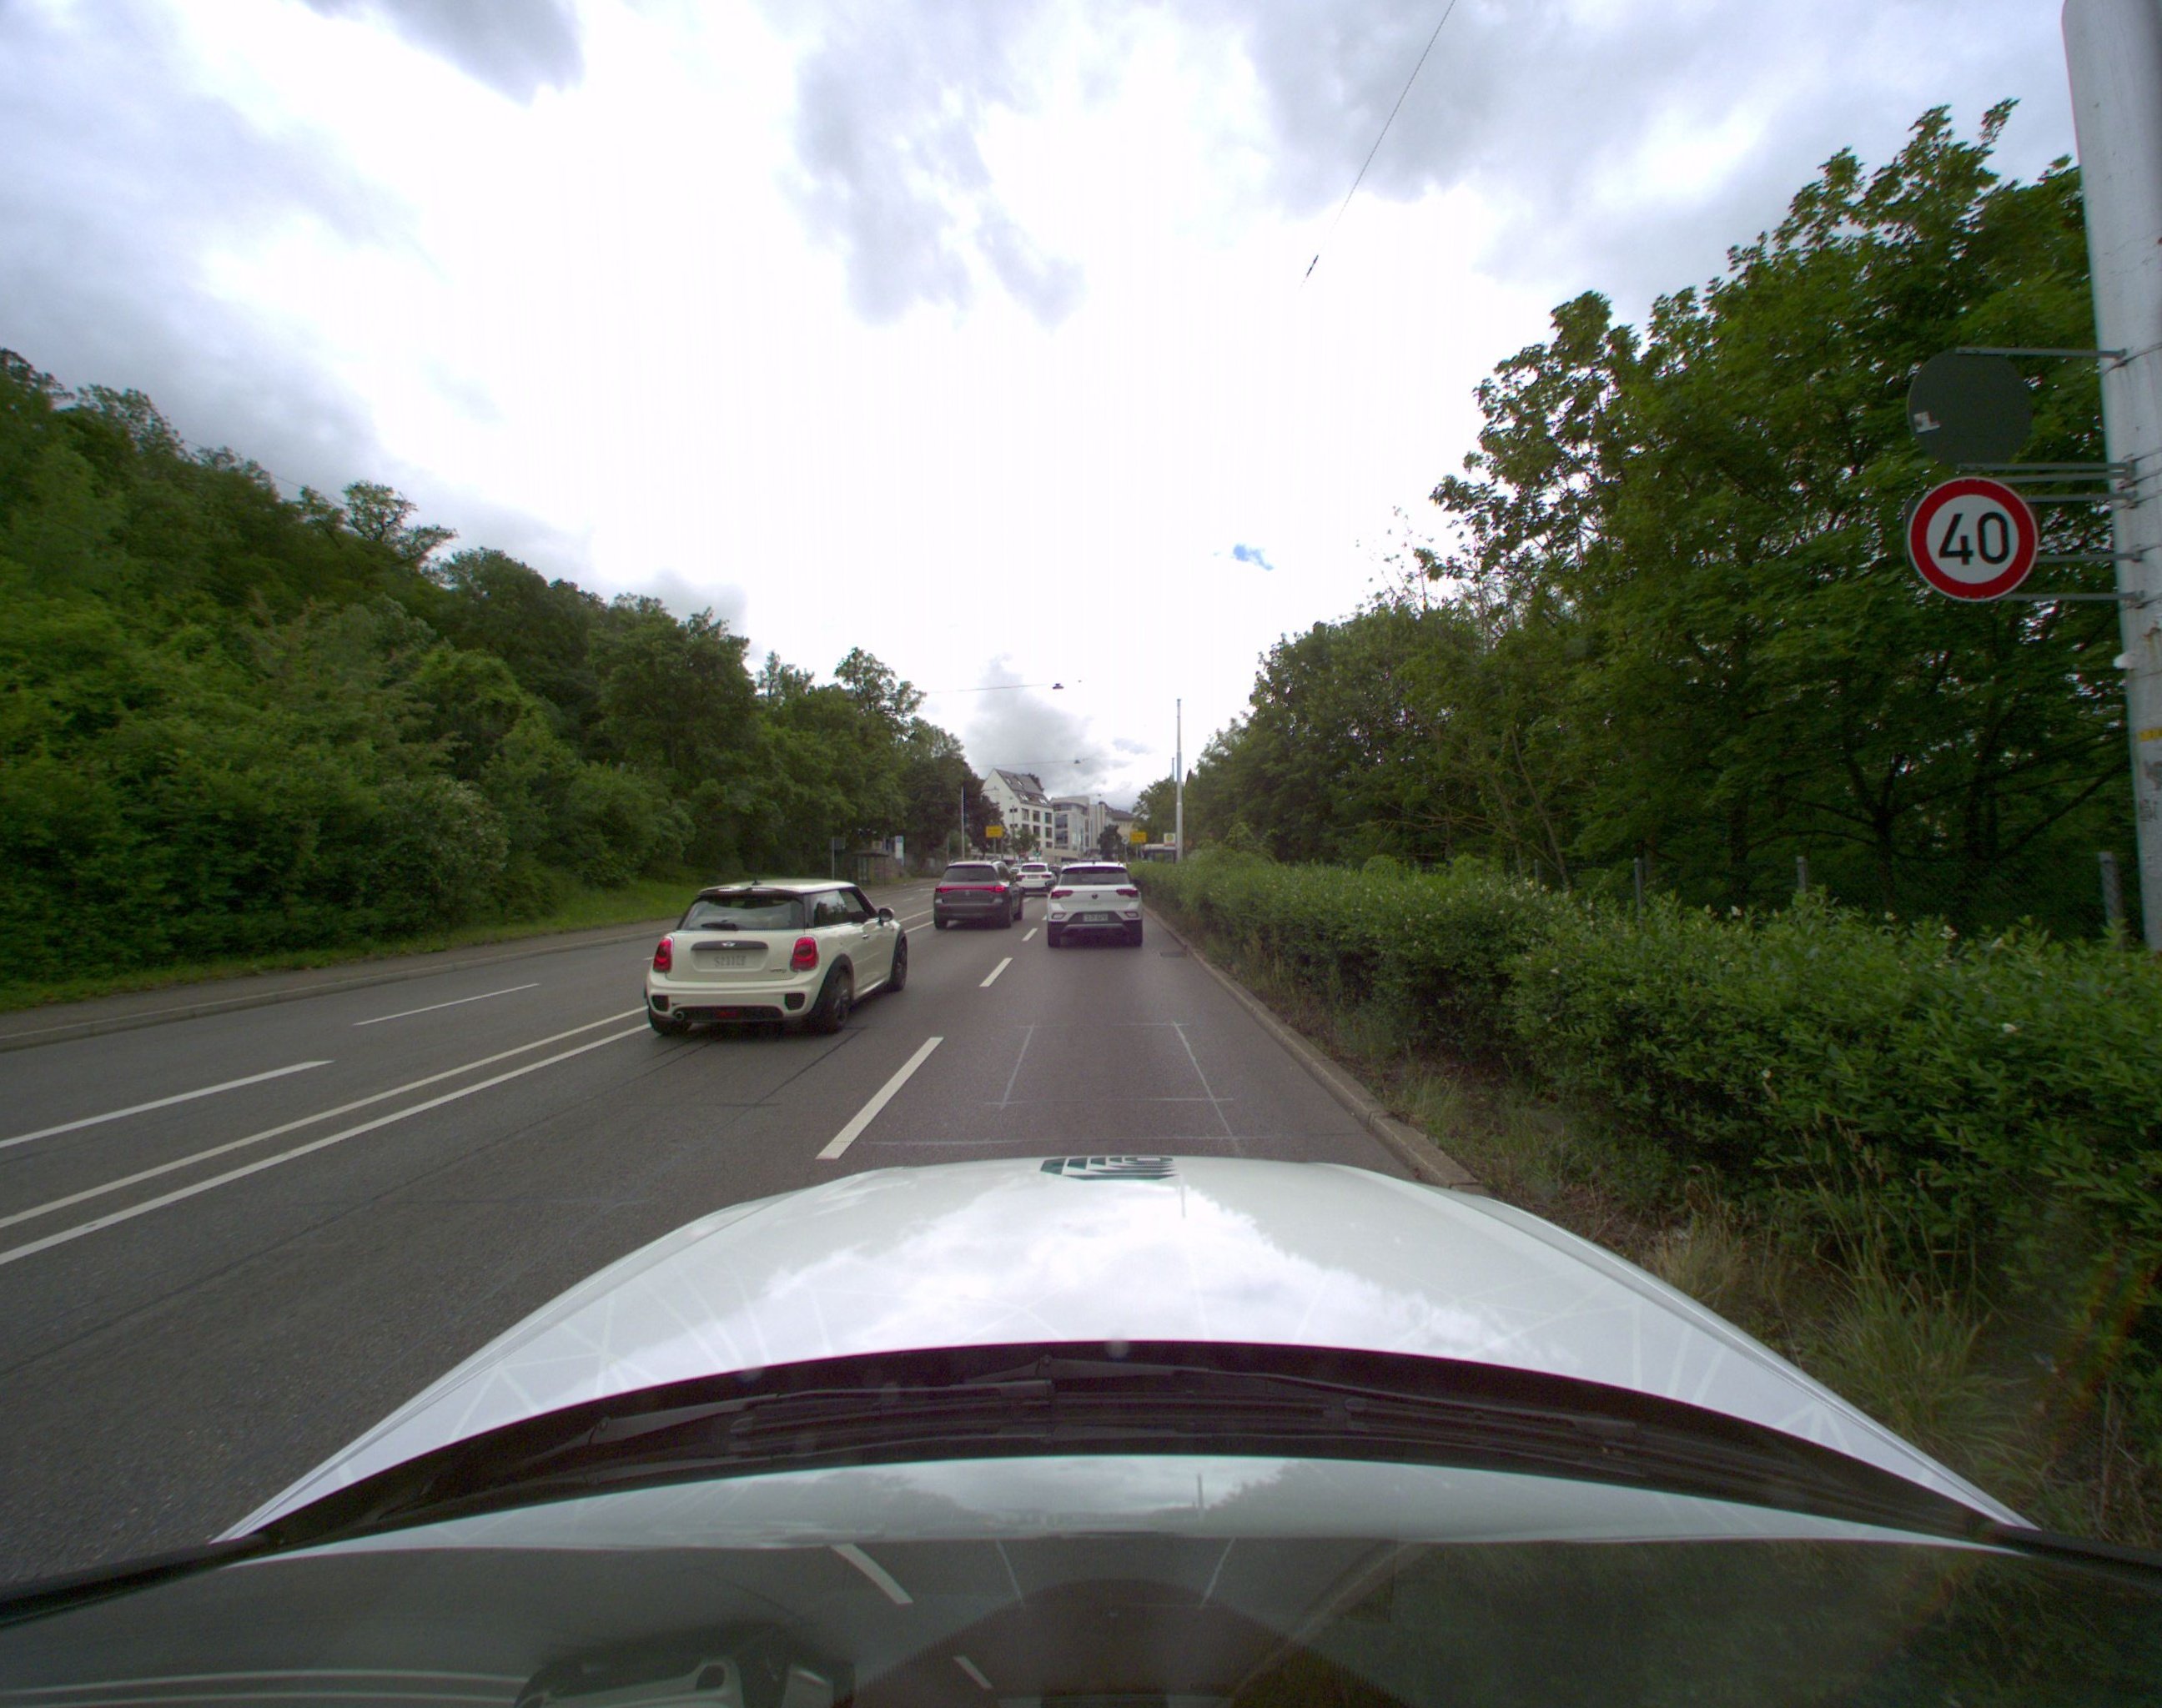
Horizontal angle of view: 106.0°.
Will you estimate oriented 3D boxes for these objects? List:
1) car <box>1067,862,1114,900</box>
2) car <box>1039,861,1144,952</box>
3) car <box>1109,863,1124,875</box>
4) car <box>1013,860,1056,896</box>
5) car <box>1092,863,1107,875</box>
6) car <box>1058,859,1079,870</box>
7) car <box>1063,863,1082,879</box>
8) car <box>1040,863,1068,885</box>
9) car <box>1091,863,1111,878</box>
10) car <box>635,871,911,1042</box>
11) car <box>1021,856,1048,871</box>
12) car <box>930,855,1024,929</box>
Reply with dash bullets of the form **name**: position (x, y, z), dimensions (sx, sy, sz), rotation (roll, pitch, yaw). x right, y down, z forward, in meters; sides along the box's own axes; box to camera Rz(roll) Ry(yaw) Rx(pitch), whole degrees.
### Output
- **car**: position (0.376, 1.130, 35.066), dimensions (1.852, 1.500, 4.054), rotation (-2, -1, 0)
- **car**: position (0.181, 0.942, 16.187), dimensions (1.806, 1.539, 3.688), rotation (-2, -1, 0)
- **car**: position (4.861, 2.041, 110.976), dimensions (1.849, 1.500, 4.062), rotation (-2, -1, 6)
- **car**: position (-2.234, 1.144, 40.229), dimensions (1.852, 1.652, 4.634), rotation (-2, -1, 0)
- **car**: position (2.590, 2.076, 114.170), dimensions (1.849, 1.500, 4.060), rotation (-2, -1, 5)
- **car**: position (-2.355, 2.003, 153.478), dimensions (1.965, 1.967, 5.246), rotation (-1, -1, 22)
- **car**: position (-0.865, 1.742, 84.761), dimensions (1.852, 1.500, 4.054), rotation (-2, -1, 0)
- **car**: position (-1.946, 1.446, 59.152), dimensions (1.852, 1.500, 4.054), rotation (-2, -1, 0)
- **car**: position (2.017, 1.669, 82.664), dimensions (1.852, 1.500, 4.054), rotation (-2, -1, 0)
- **car**: position (-3.024, 0.919, 8.806), dimensions (1.623, 1.393, 3.564), rotation (-2, -1, -1)
- **car**: position (-7.967, 1.667, 141.006), dimensions (2.214, 2.568, 7.454), rotation (-1, -1, 17)
- **car**: position (-2.572, 0.915, 21.152), dimensions (1.807, 1.652, 4.634), rotation (-2, -1, 0)
